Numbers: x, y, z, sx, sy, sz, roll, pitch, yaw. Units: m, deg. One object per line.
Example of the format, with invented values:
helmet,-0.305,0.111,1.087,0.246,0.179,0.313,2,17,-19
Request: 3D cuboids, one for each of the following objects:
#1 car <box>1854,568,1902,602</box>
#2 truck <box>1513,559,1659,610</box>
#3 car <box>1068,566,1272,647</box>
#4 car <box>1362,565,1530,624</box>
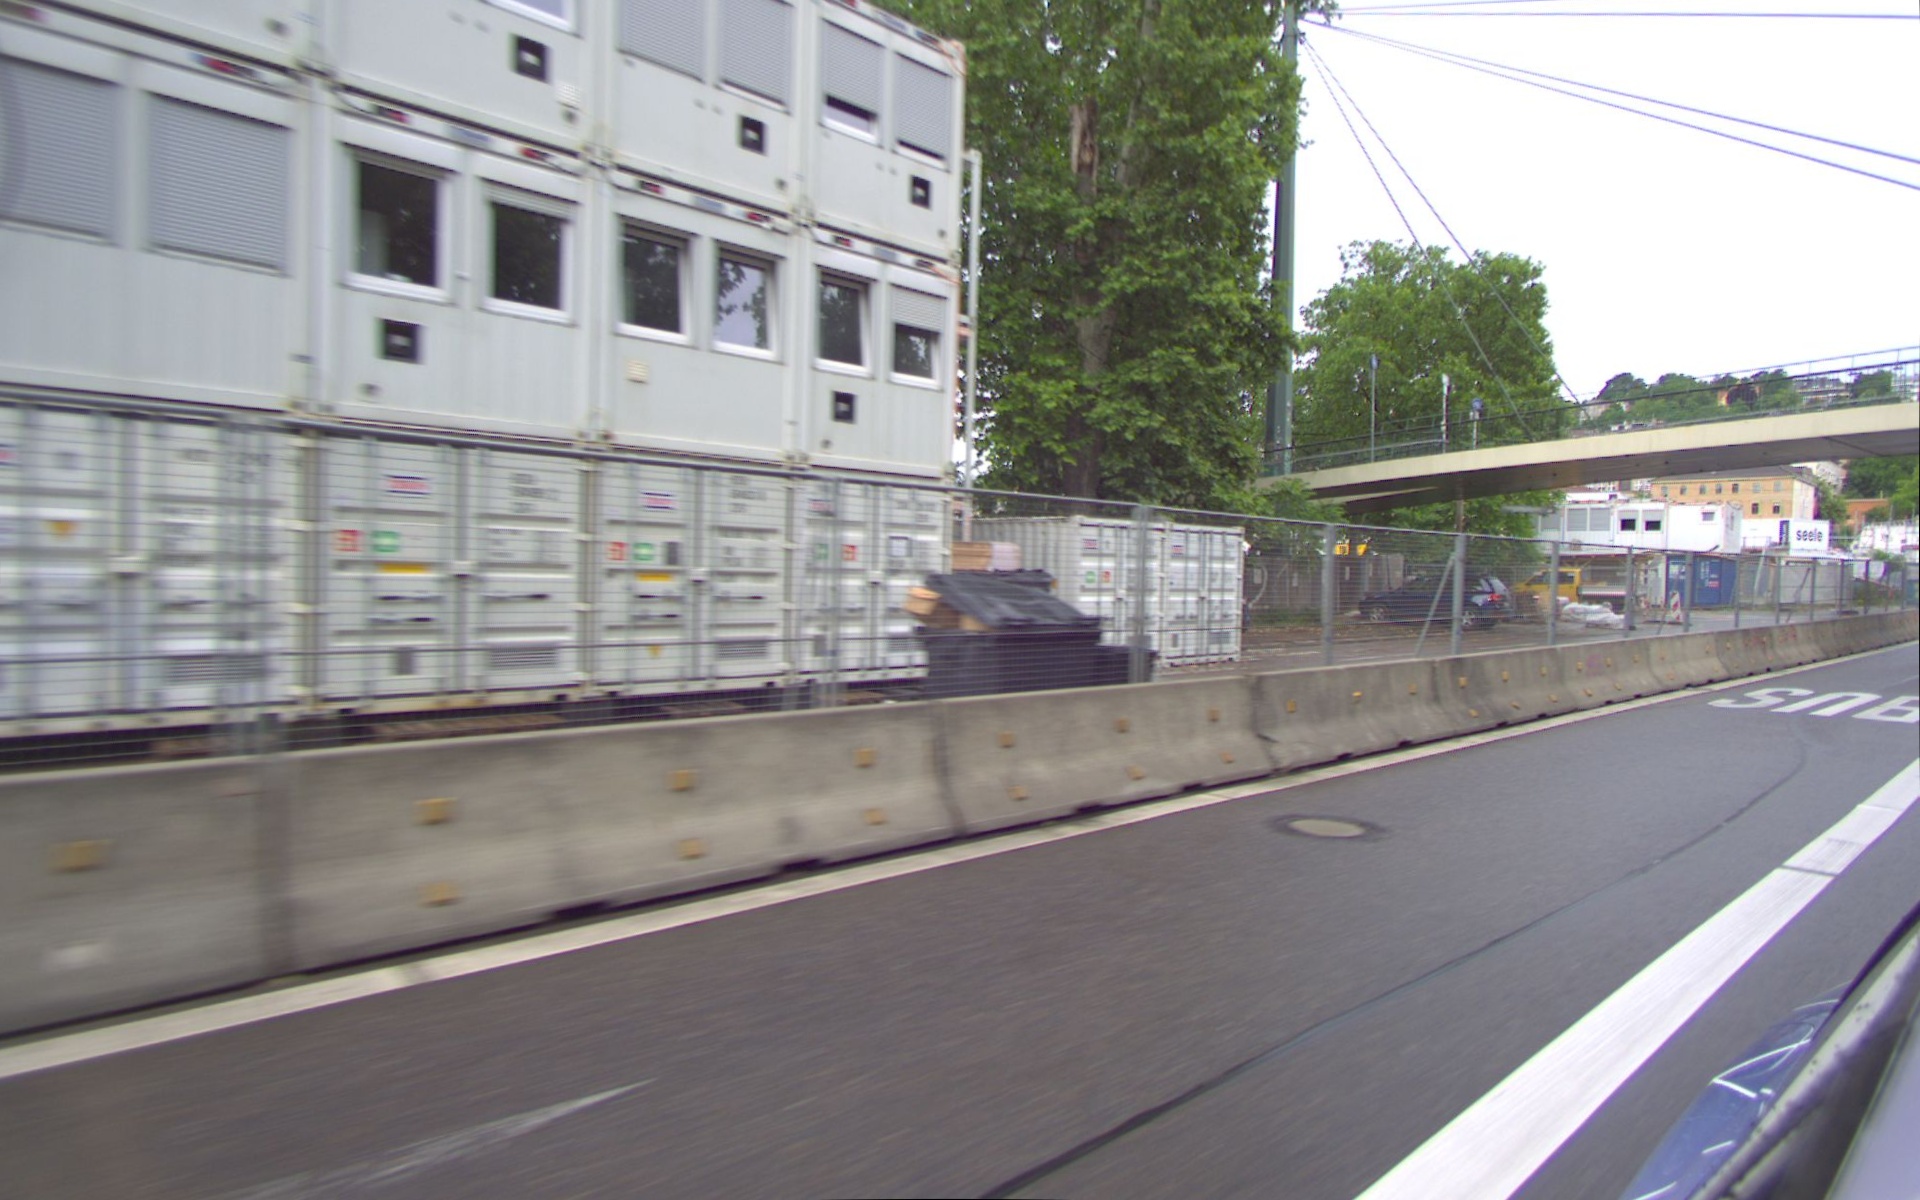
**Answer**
car,52.412,-0.901,57.755,1.851,1.501,3.941,5,9,43
truck,27.925,-0.756,45.260,5.156,2.037,2.372,3,5,44
car,4.825,0.087,23.802,1.757,1.649,4.551,0,2,-41
car,15.700,-0.232,32.862,1.967,1.749,4.502,-2,3,-44
